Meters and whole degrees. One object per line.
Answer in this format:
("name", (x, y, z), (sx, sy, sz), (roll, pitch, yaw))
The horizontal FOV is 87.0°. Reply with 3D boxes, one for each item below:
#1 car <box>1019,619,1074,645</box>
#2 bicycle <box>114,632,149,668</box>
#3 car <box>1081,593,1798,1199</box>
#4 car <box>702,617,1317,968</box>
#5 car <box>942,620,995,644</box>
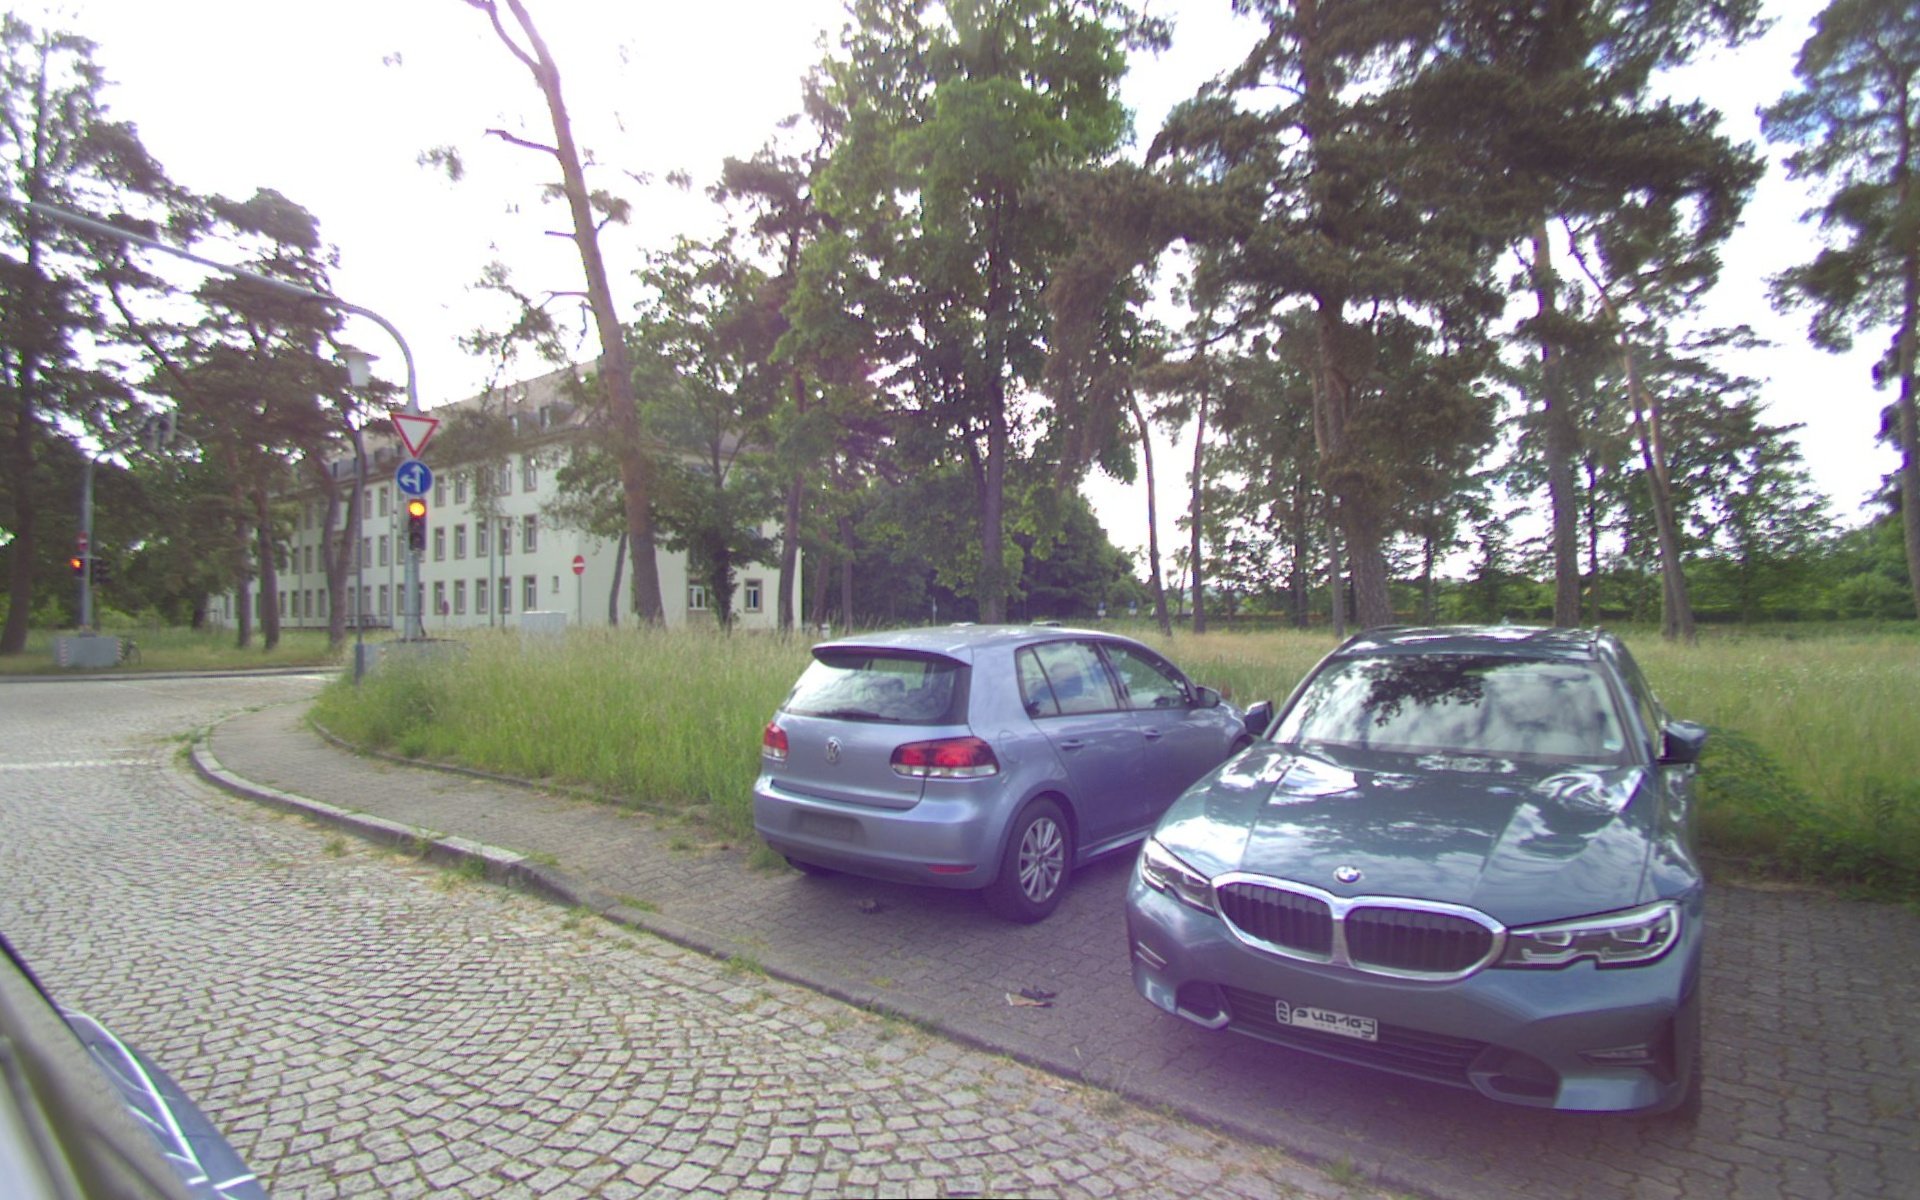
("car", (5.945, 2.168, 68.952), (1.716, 1.622, 4.002), (0, 0, 41))
("bicycle", (-25.959, 1.558, 31.693), (1.414, 1.082, 0.492), (-1, 1, 36))
("car", (2.458, 0.777, 4.697), (1.867, 1.548, 4.461), (-1, -1, 36))
("car", (0.641, 0.868, 6.626), (1.826, 1.481, 4.285), (-1, -1, 40))
("car", (0.650, 2.341, 74.173), (1.717, 1.622, 4.001), (0, 0, 43))
